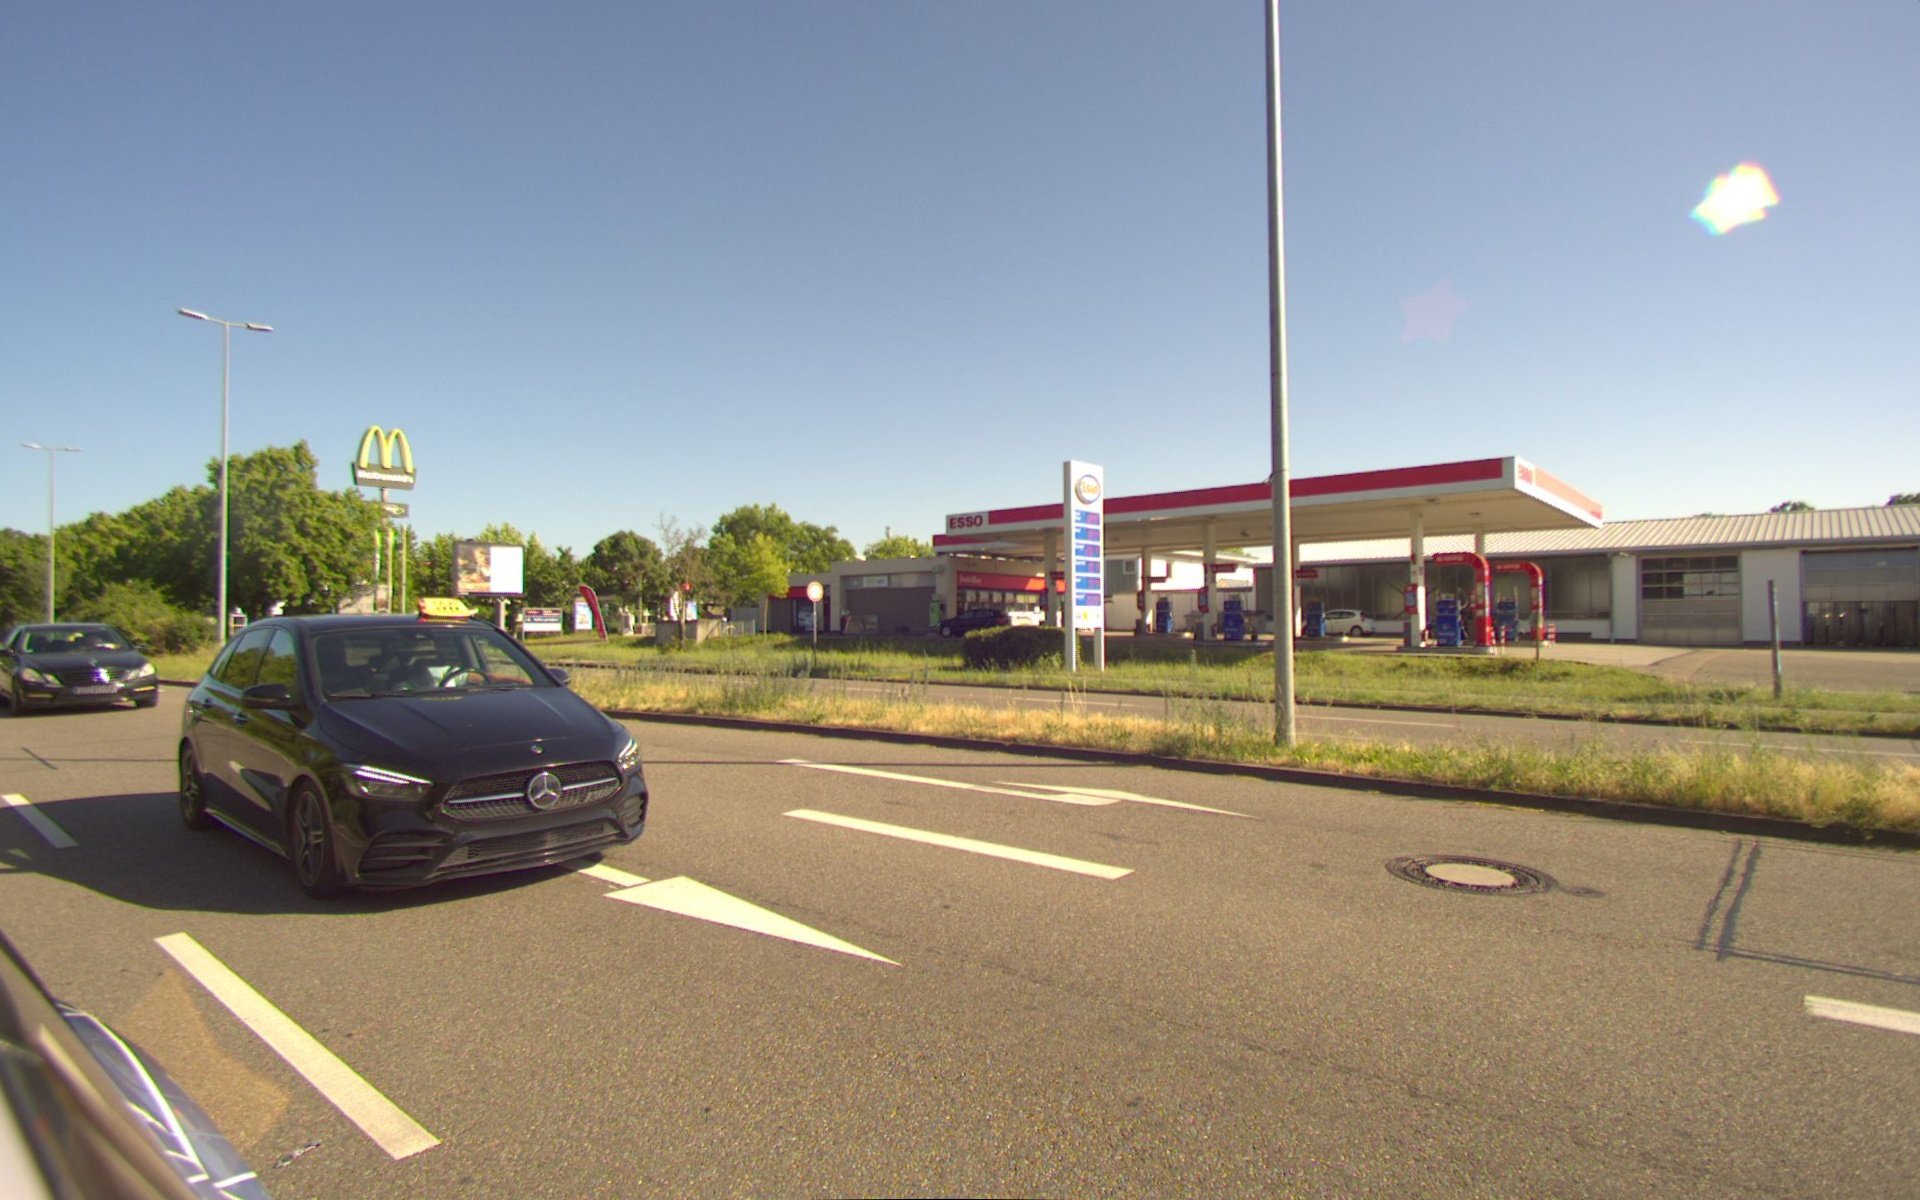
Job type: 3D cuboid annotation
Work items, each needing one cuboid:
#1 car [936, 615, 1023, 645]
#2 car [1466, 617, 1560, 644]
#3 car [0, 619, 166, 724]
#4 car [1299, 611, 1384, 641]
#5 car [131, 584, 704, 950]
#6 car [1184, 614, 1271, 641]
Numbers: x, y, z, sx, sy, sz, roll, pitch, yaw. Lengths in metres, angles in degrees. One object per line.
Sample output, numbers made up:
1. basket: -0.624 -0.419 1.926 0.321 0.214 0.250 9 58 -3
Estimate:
1. car: 0.932 1.487 50.271 3.998 1.416 1.973 -2 -2 41
2. car: 26.742 1.446 48.979 3.729 1.196 1.658 -1 0 41
3. car: -15.432 1.124 17.460 4.461 1.521 1.927 -1 0 41
4. car: 20.504 1.361 54.484 3.855 1.500 1.973 -1 0 41
5. car: -3.784 0.785 6.632 4.580 1.614 1.765 -2 -1 40
6. car: 15.666 1.585 59.340 4.540 1.477 1.973 -1 0 41
